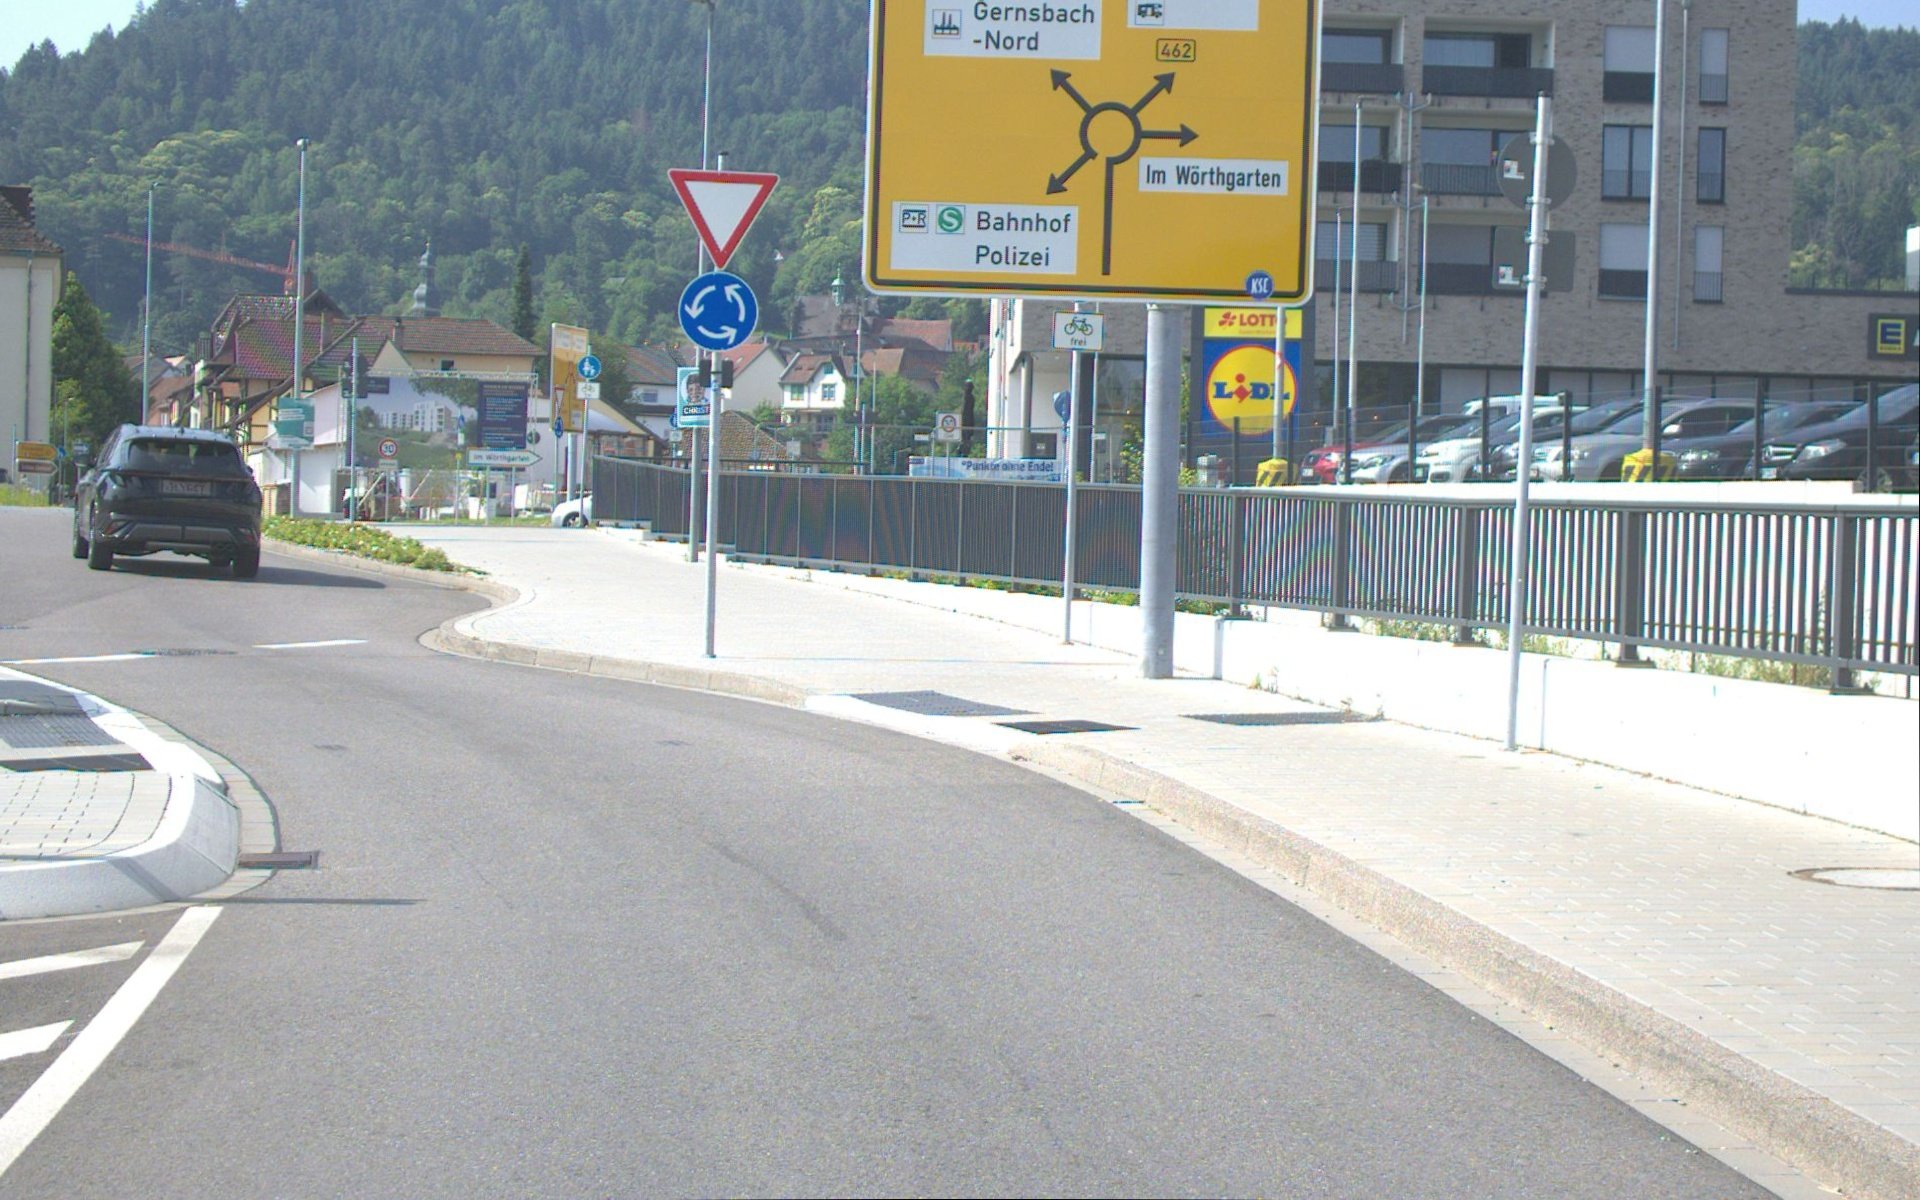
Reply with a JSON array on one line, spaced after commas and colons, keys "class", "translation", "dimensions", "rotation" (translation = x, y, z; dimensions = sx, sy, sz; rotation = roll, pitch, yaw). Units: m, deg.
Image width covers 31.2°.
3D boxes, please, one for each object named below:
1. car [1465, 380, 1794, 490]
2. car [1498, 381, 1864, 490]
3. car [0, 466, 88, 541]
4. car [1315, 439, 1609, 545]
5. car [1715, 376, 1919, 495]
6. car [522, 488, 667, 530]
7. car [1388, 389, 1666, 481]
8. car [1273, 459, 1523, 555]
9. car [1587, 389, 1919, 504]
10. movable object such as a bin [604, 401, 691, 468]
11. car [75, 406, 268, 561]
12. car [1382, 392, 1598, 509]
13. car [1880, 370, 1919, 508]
[{"class": "car", "translation": [9.106, -2.236, 46.853], "dimensions": [4.035, 1.338, 1.661], "rotation": [1, 2, -14]}, {"class": "car", "translation": [9.244, -2.094, 44.154], "dimensions": [4.277, 1.241, 1.665], "rotation": [1, 2, -15]}, {"class": "car", "translation": [-26.097, -2.650, 94.922], "dimensions": [1.996, 2.007, 3.996], "rotation": [1, 1, 21]}, {"class": "car", "translation": [7.654, -1.646, 52.556], "dimensions": [4.055, 1.482, 1.717], "rotation": [1, 2, -12]}, {"class": "car", "translation": [10.834, -1.799, 38.619], "dimensions": [4.212, 1.241, 1.745], "rotation": [1, 2, -15]}, {"class": "car", "translation": [-8.835, -2.206, 83.138], "dimensions": [3.273, 0.961, 1.348], "rotation": [1, 1, 27]}, {"class": "car", "translation": [8.196, -2.378, 49.803], "dimensions": [3.554, 1.195, 1.715], "rotation": [1, 2, -14]}, {"class": "car", "translation": [7.009, -1.495, 55.147], "dimensions": [3.554, 1.425, 1.711], "rotation": [1, 2, -14]}, {"class": "car", "translation": [9.776, -1.834, 41.427], "dimensions": [3.965, 1.241, 1.731], "rotation": [1, 2, -15]}, {"class": "movable object such as a bin", "translation": [-8.914, -4.711, 98.062], "dimensions": [2.443, 1.837, 1.429], "rotation": [1, 1, -5]}, {"class": "car", "translation": [-9.157, -1.320, 39.745], "dimensions": [1.880, 1.678, 4.001], "rotation": [0, 1, -17]}, {"class": "car", "translation": [10.064, -2.841, 65.538], "dimensions": [3.988, 2.128, 2.000], "rotation": [1, 1, 7]}, {"class": "car", "translation": [11.714, -1.590, 35.289], "dimensions": [4.004, 1.399, 1.726], "rotation": [1, 2, -15]}]
